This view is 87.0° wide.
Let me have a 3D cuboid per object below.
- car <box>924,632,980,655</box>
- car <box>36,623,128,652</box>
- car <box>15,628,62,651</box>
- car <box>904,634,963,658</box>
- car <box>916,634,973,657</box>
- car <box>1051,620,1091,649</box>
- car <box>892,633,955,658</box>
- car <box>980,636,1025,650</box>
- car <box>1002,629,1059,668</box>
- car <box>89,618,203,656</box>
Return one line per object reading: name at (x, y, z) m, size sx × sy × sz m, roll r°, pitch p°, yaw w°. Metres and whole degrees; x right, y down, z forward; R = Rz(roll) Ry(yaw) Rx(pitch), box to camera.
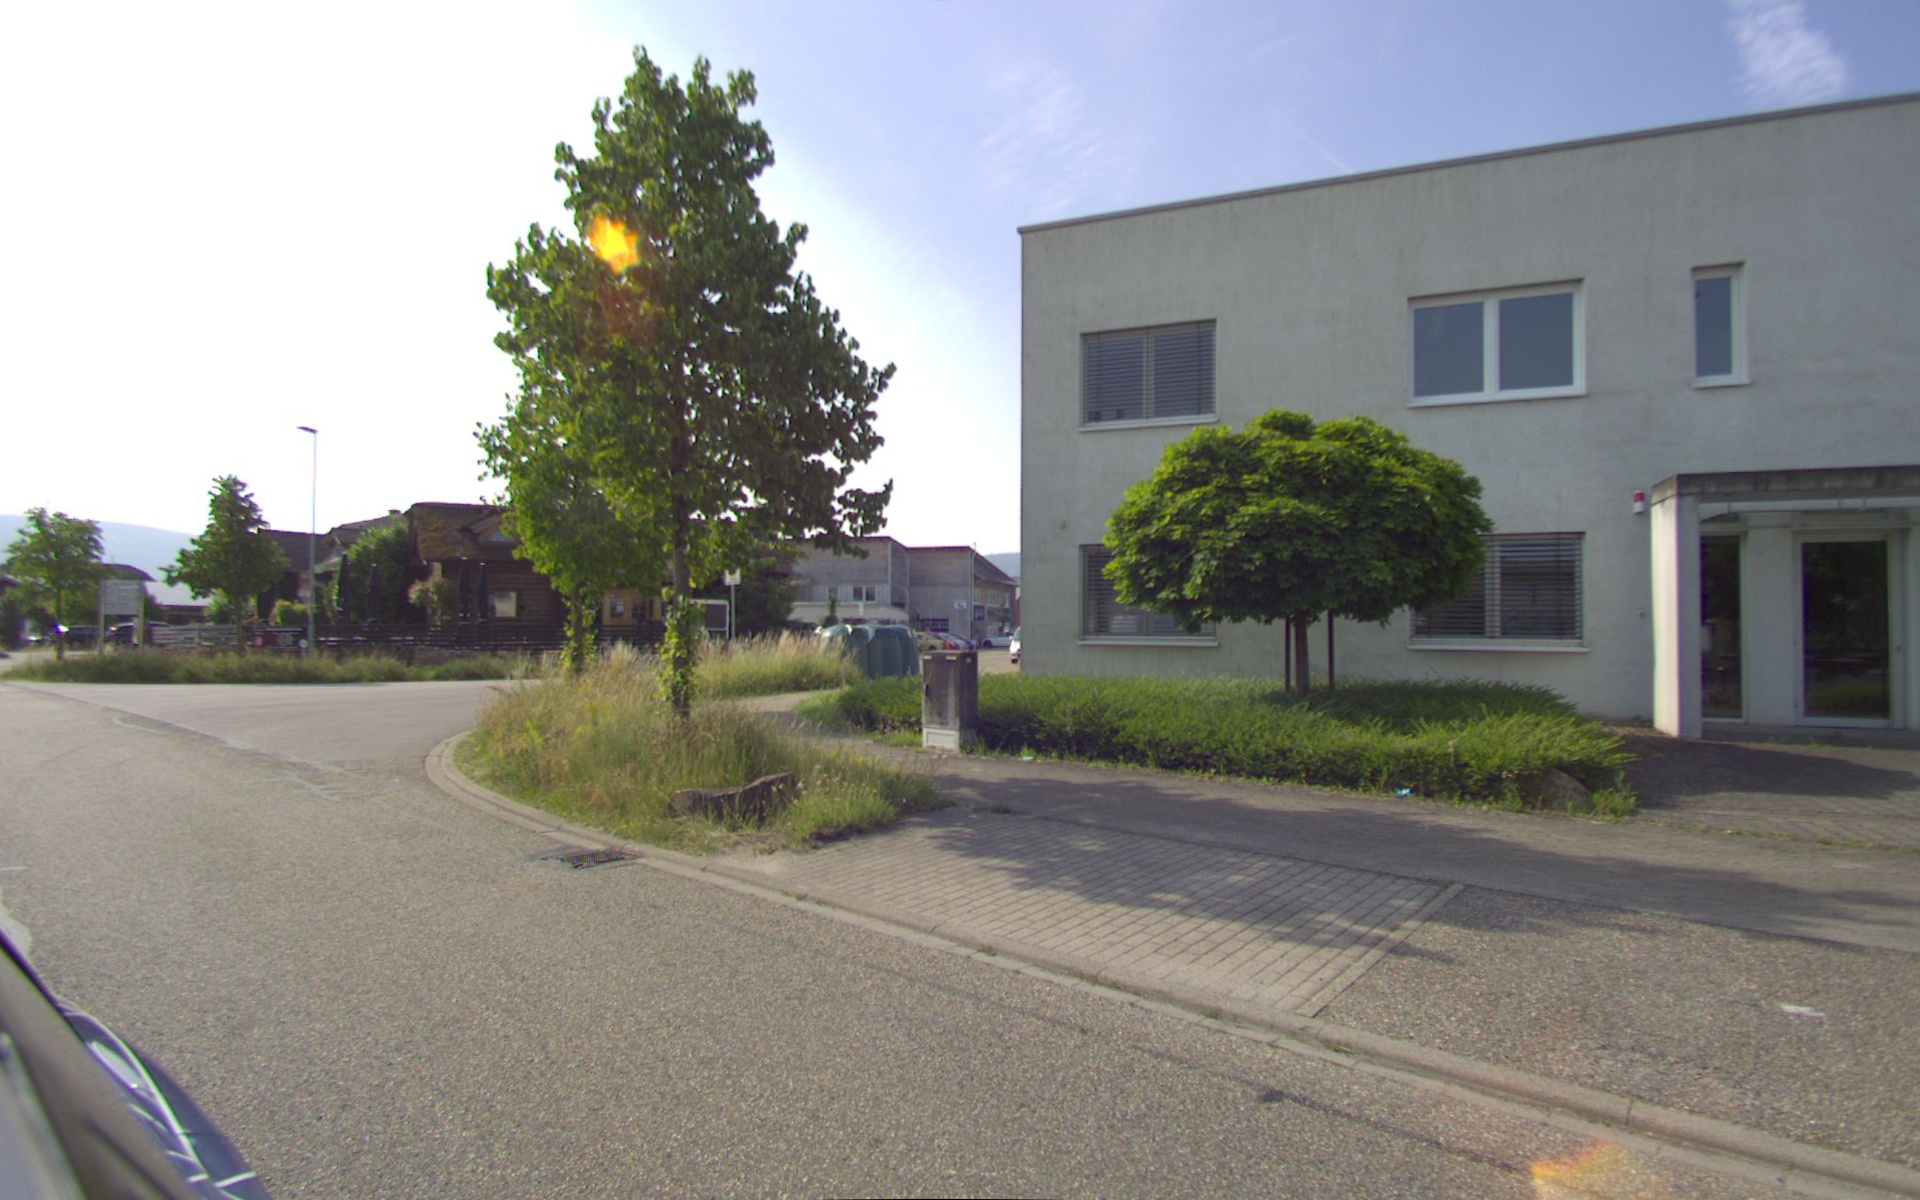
car at (-0.617, 3.421, 79.691) m, size 3.968 × 1.744 × 1.988 m, roll -1°, pitch -2°, yaw 19°
car at (-55.490, 2.356, 64.049) m, size 1.985 × 1.807 × 3.974 m, roll -1°, pitch -2°, yaw 19°
car at (-63.689, 2.717, 69.960) m, size 3.541 × 1.492 × 1.596 m, roll -1°, pitch -2°, yaw 34°
car at (-1.971, 3.399, 75.229) m, size 3.968 × 1.710 × 1.988 m, roll -1°, pitch -2°, yaw 19°
car at (-1.200, 3.453, 77.401) m, size 3.968 × 1.671 × 1.988 m, roll -1°, pitch -2°, yaw 19°
car at (7.059, 2.165, 63.962) m, size 1.981 × 1.741 × 3.981 m, roll -1°, pitch -1°, yaw 15°
car at (-2.611, 3.266, 73.207) m, size 4.131 × 1.748 × 1.988 m, roll -1°, pitch -2°, yaw 19°
car at (4.055, 4.096, 96.472) m, size 4.029 × 1.378 × 1.753 m, roll -1°, pitch -2°, yaw 16°
car at (3.603, 2.391, 50.840) m, size 2.004 × 1.838 × 4.865 m, roll -1°, pitch -1°, yaw 15°
car at (-38.751, 1.738, 48.254) m, size 1.999 × 1.741 × 3.945 m, roll -2°, pitch -2°, yaw 41°
